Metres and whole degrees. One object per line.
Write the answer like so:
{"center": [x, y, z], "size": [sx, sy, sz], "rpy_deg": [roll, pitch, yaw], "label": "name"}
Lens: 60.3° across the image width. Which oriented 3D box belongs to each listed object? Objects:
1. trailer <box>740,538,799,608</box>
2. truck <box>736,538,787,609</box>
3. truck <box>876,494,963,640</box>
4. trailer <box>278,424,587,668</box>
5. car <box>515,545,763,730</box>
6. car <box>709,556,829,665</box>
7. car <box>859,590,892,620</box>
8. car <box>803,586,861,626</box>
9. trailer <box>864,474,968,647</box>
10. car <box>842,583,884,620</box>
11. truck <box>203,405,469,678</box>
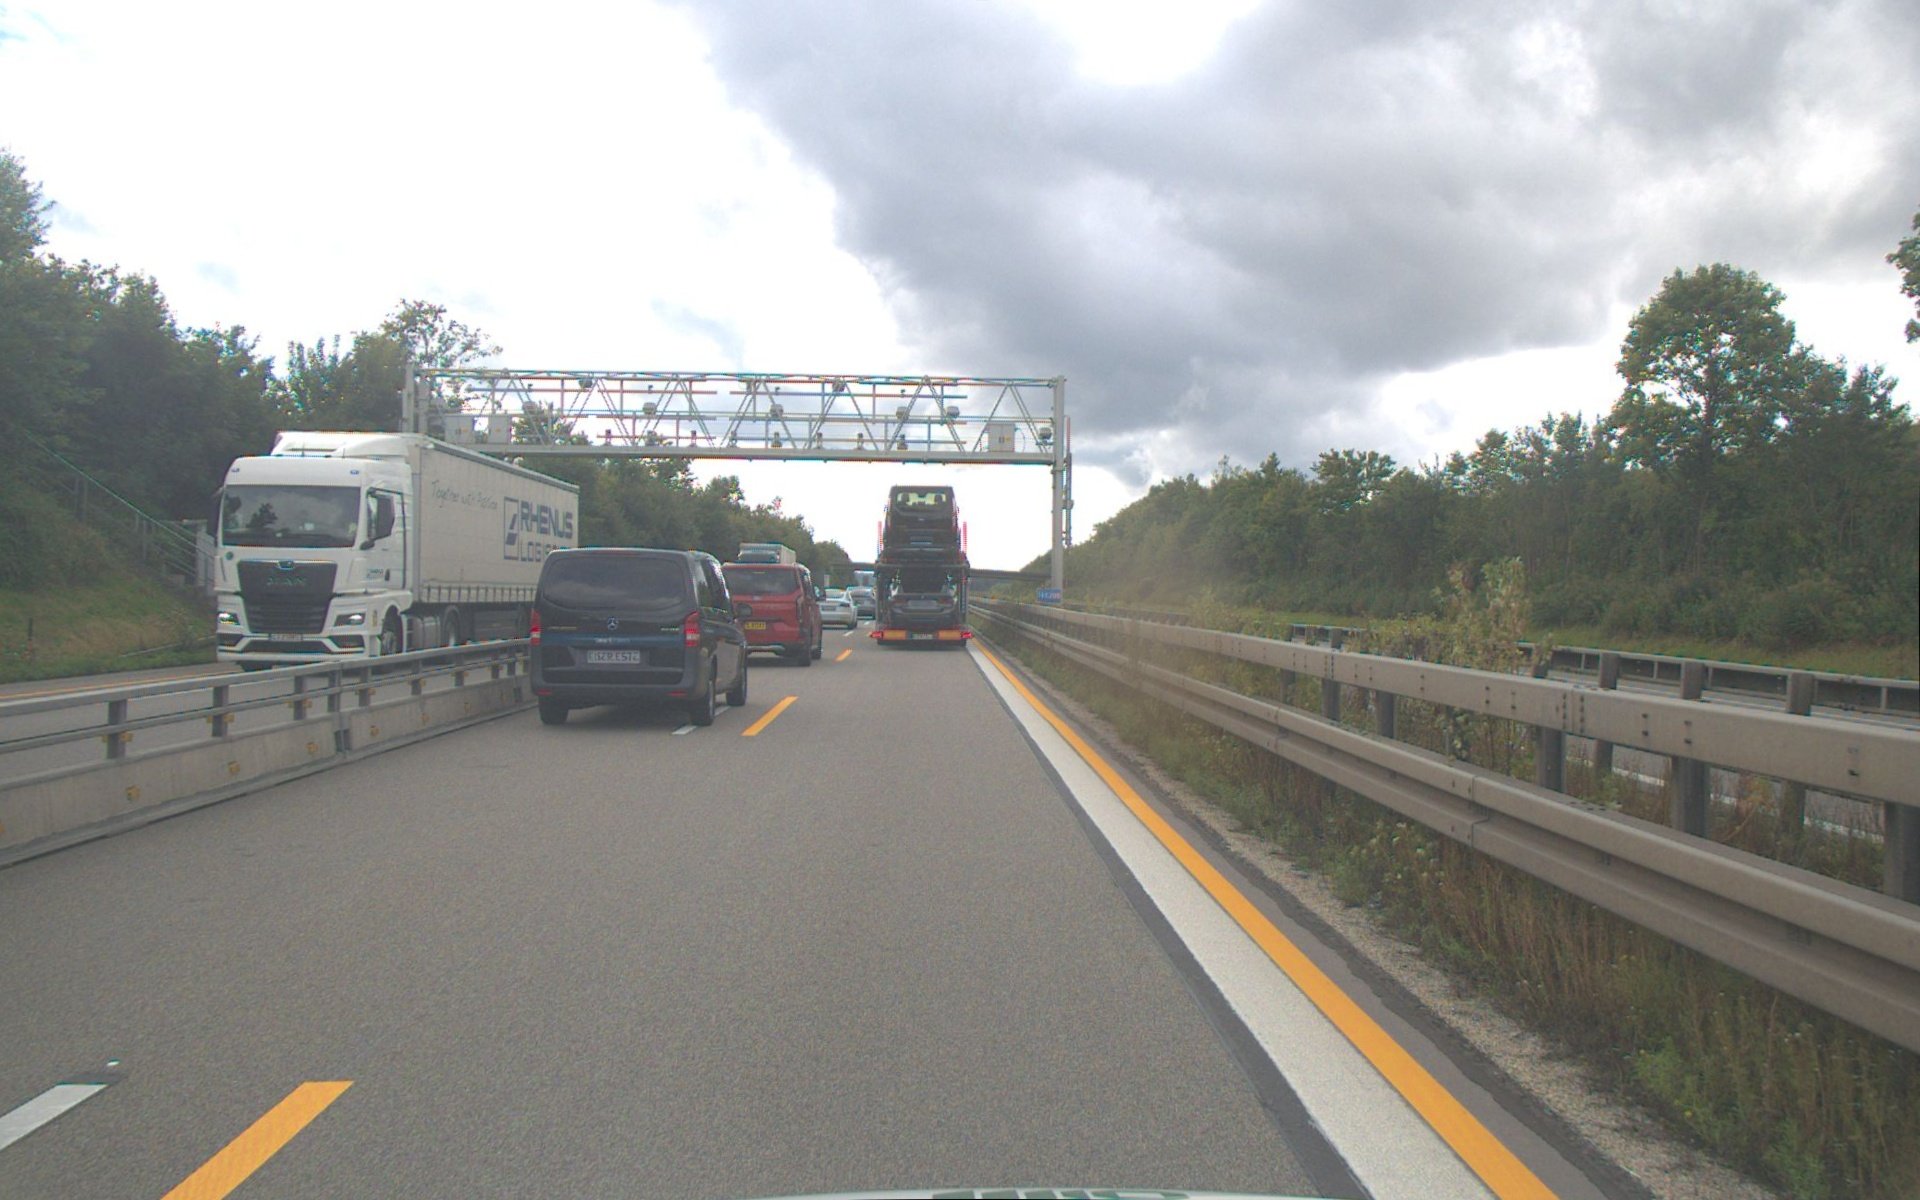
{"center": [-12.293, -1.712, 107.972], "size": [2.546, 4.227, 13.988], "rpy_deg": [1, 1, -2], "label": "trailer"}
{"center": [-12.110, -1.614, 101.317], "size": [2.546, 4.227, 5.618], "rpy_deg": [1, 1, -2], "label": "truck"}
{"center": [-1.200, -0.965, 50.549], "size": [2.464, 4.177, 5.684], "rpy_deg": [1, 0, -1], "label": "truck"}
{"center": [-10.824, -1.027, 35.997], "size": [2.546, 4.227, 13.988], "rpy_deg": [1, 1, -2], "label": "trailer"}
{"center": [-3.596, 0.380, 19.622], "size": [1.953, 1.875, 5.608], "rpy_deg": [0, 0, -1], "label": "car"}
{"center": [-3.790, 0.193, 33.558], "size": [1.990, 2.049, 4.576], "rpy_deg": [0, 0, -1], "label": "car"}
{"center": [-5.158, 0.279, 101.628], "size": [1.990, 1.788, 4.576], "rpy_deg": [0, 0, -2], "label": "car"}
{"center": [-4.832, 0.217, 62.984], "size": [1.990, 1.456, 4.576], "rpy_deg": [0, 0, -2], "label": "car"}
{"center": [-1.131, -0.960, 45.803], "size": [2.464, 4.177, 11.111], "rpy_deg": [1, 0, -1], "label": "trailer"}
{"center": [-4.854, 0.064, 83.155], "size": [1.990, 1.788, 4.576], "rpy_deg": [0, 0, -2], "label": "car"}
{"center": [-10.643, -0.951, 28.821], "size": [2.546, 4.227, 5.618], "rpy_deg": [1, 1, -2], "label": "truck"}
